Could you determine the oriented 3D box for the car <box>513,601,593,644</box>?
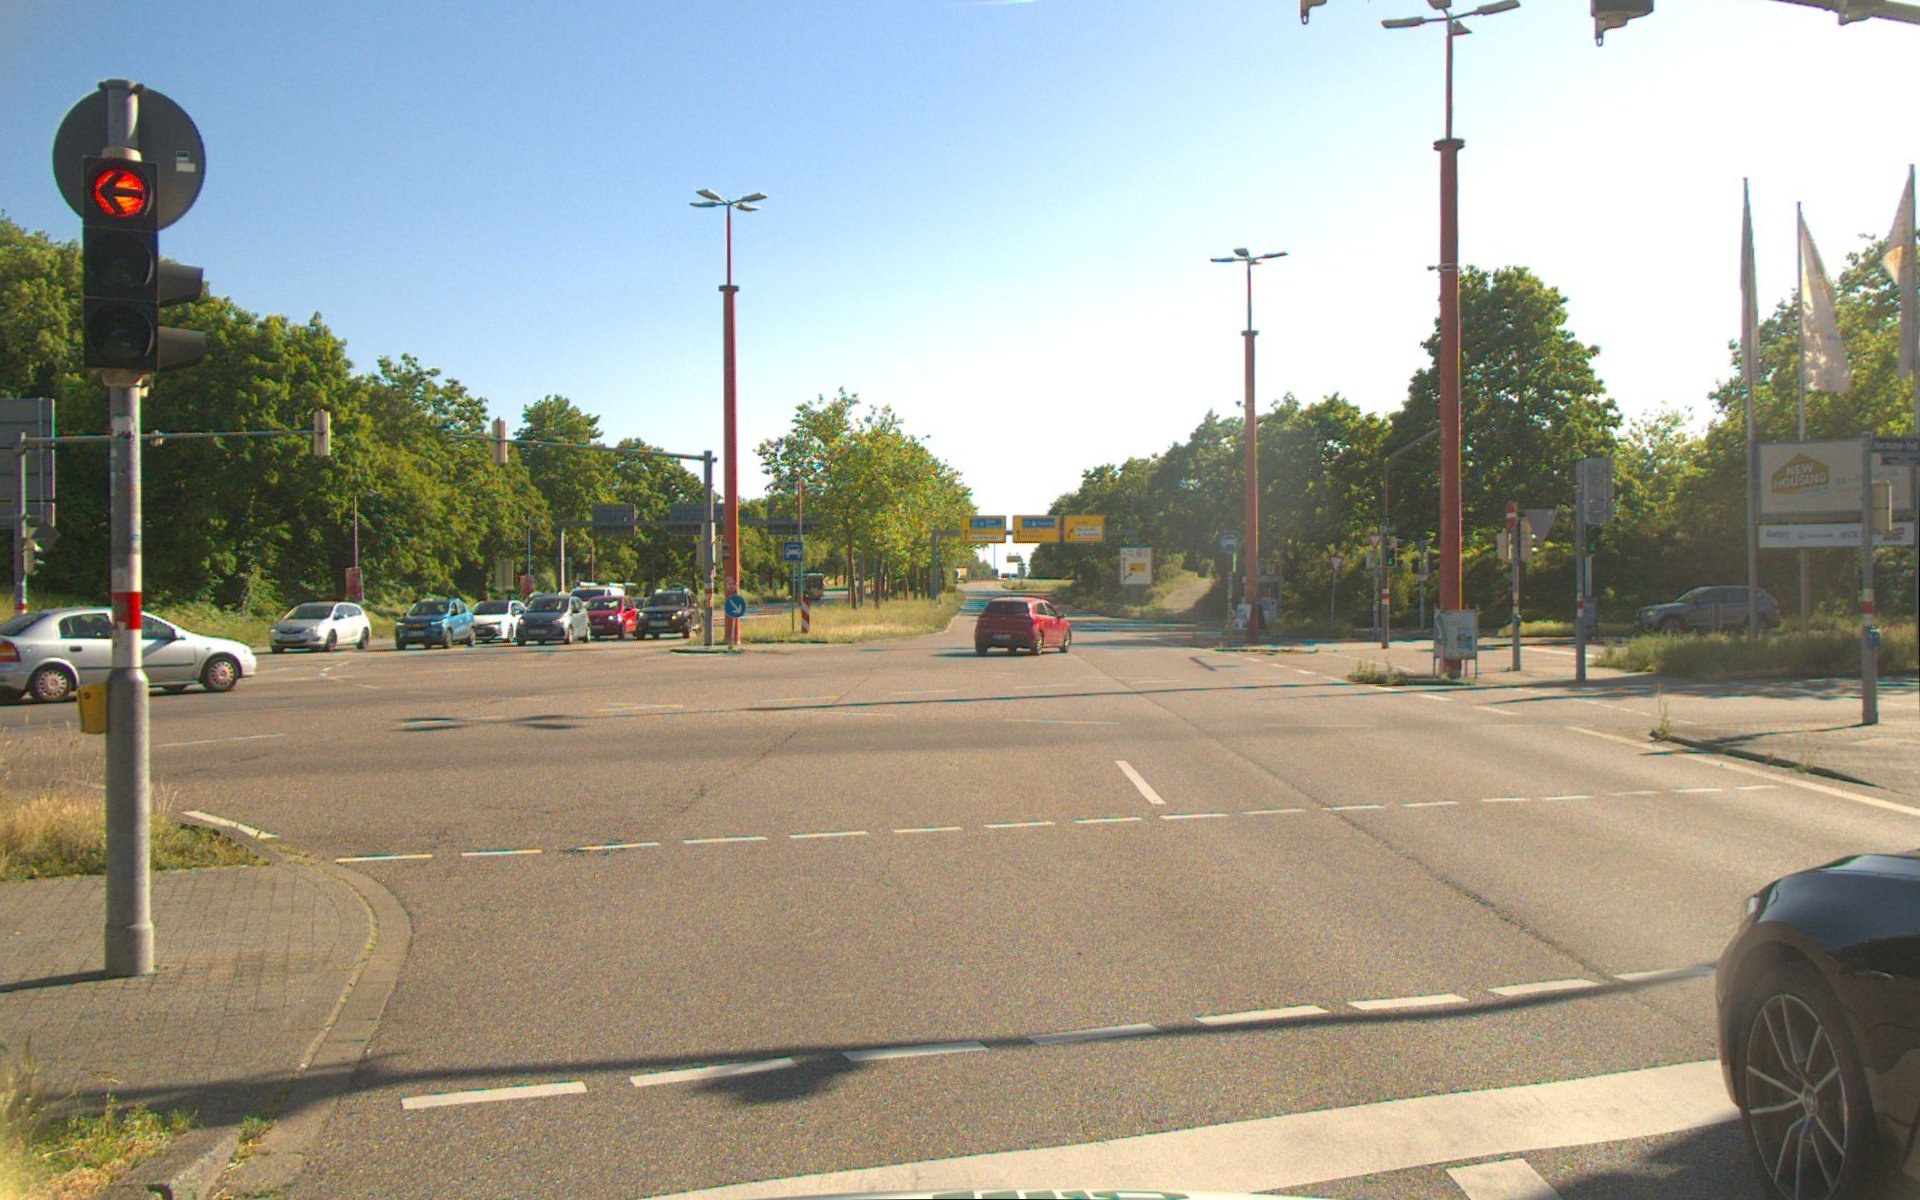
[{"bbox_3d":[-12.674,0.670,51.693,1.704,1.265,3.611,0,0,-2],"label":"car"}]

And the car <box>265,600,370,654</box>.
[{"bbox_3d":[-19.478,0.777,50.310,1.725,1.559,3.934,0,0,-2],"label":"car"}]

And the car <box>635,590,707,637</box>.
[{"bbox_3d":[-9.762,0.444,56.070,1.782,1.534,3.999,0,0,-1],"label":"car"}]

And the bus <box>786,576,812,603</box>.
[{"bbox_3d":[-19.898,-1.291,204.916,2.441,3.295,9.998,0,0,-1],"label":"bus"}]

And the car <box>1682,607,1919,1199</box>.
[{"bbox_3d":[2.907,0.736,2.357,1.831,1.422,4.443,0,0,0],"label":"car"}]

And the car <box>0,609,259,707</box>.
[{"bbox_3d":[-13.187,0.849,25.766,1.459,1.369,3.981,0,0,38],"label":"car"}]

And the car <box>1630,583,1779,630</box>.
[{"bbox_3d":[24.952,0.220,55.541,4.223,1.511,1.787,0,0,8],"label":"car"}]

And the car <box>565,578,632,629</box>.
[{"bbox_3d":[-15.505,0.155,71.180,1.855,2.061,5.221,0,0,-2],"label":"car"}]

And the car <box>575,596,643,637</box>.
[{"bbox_3d":[-12.281,0.553,58.071,1.704,1.386,3.611,0,0,-2],"label":"car"}]

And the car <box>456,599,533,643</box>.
[{"bbox_3d":[-15.932,0.702,56.789,1.704,1.436,3.611,0,0,-2],"label":"car"}]

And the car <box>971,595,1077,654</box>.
[{"bbox_3d":[1.741,0.618,43.630,1.645,1.460,4.066,0,0,20],"label":"car"}]

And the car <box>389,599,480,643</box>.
[{"bbox_3d":[-16.055,0.612,50.672,1.704,1.265,3.611,0,0,-2],"label":"car"}]
